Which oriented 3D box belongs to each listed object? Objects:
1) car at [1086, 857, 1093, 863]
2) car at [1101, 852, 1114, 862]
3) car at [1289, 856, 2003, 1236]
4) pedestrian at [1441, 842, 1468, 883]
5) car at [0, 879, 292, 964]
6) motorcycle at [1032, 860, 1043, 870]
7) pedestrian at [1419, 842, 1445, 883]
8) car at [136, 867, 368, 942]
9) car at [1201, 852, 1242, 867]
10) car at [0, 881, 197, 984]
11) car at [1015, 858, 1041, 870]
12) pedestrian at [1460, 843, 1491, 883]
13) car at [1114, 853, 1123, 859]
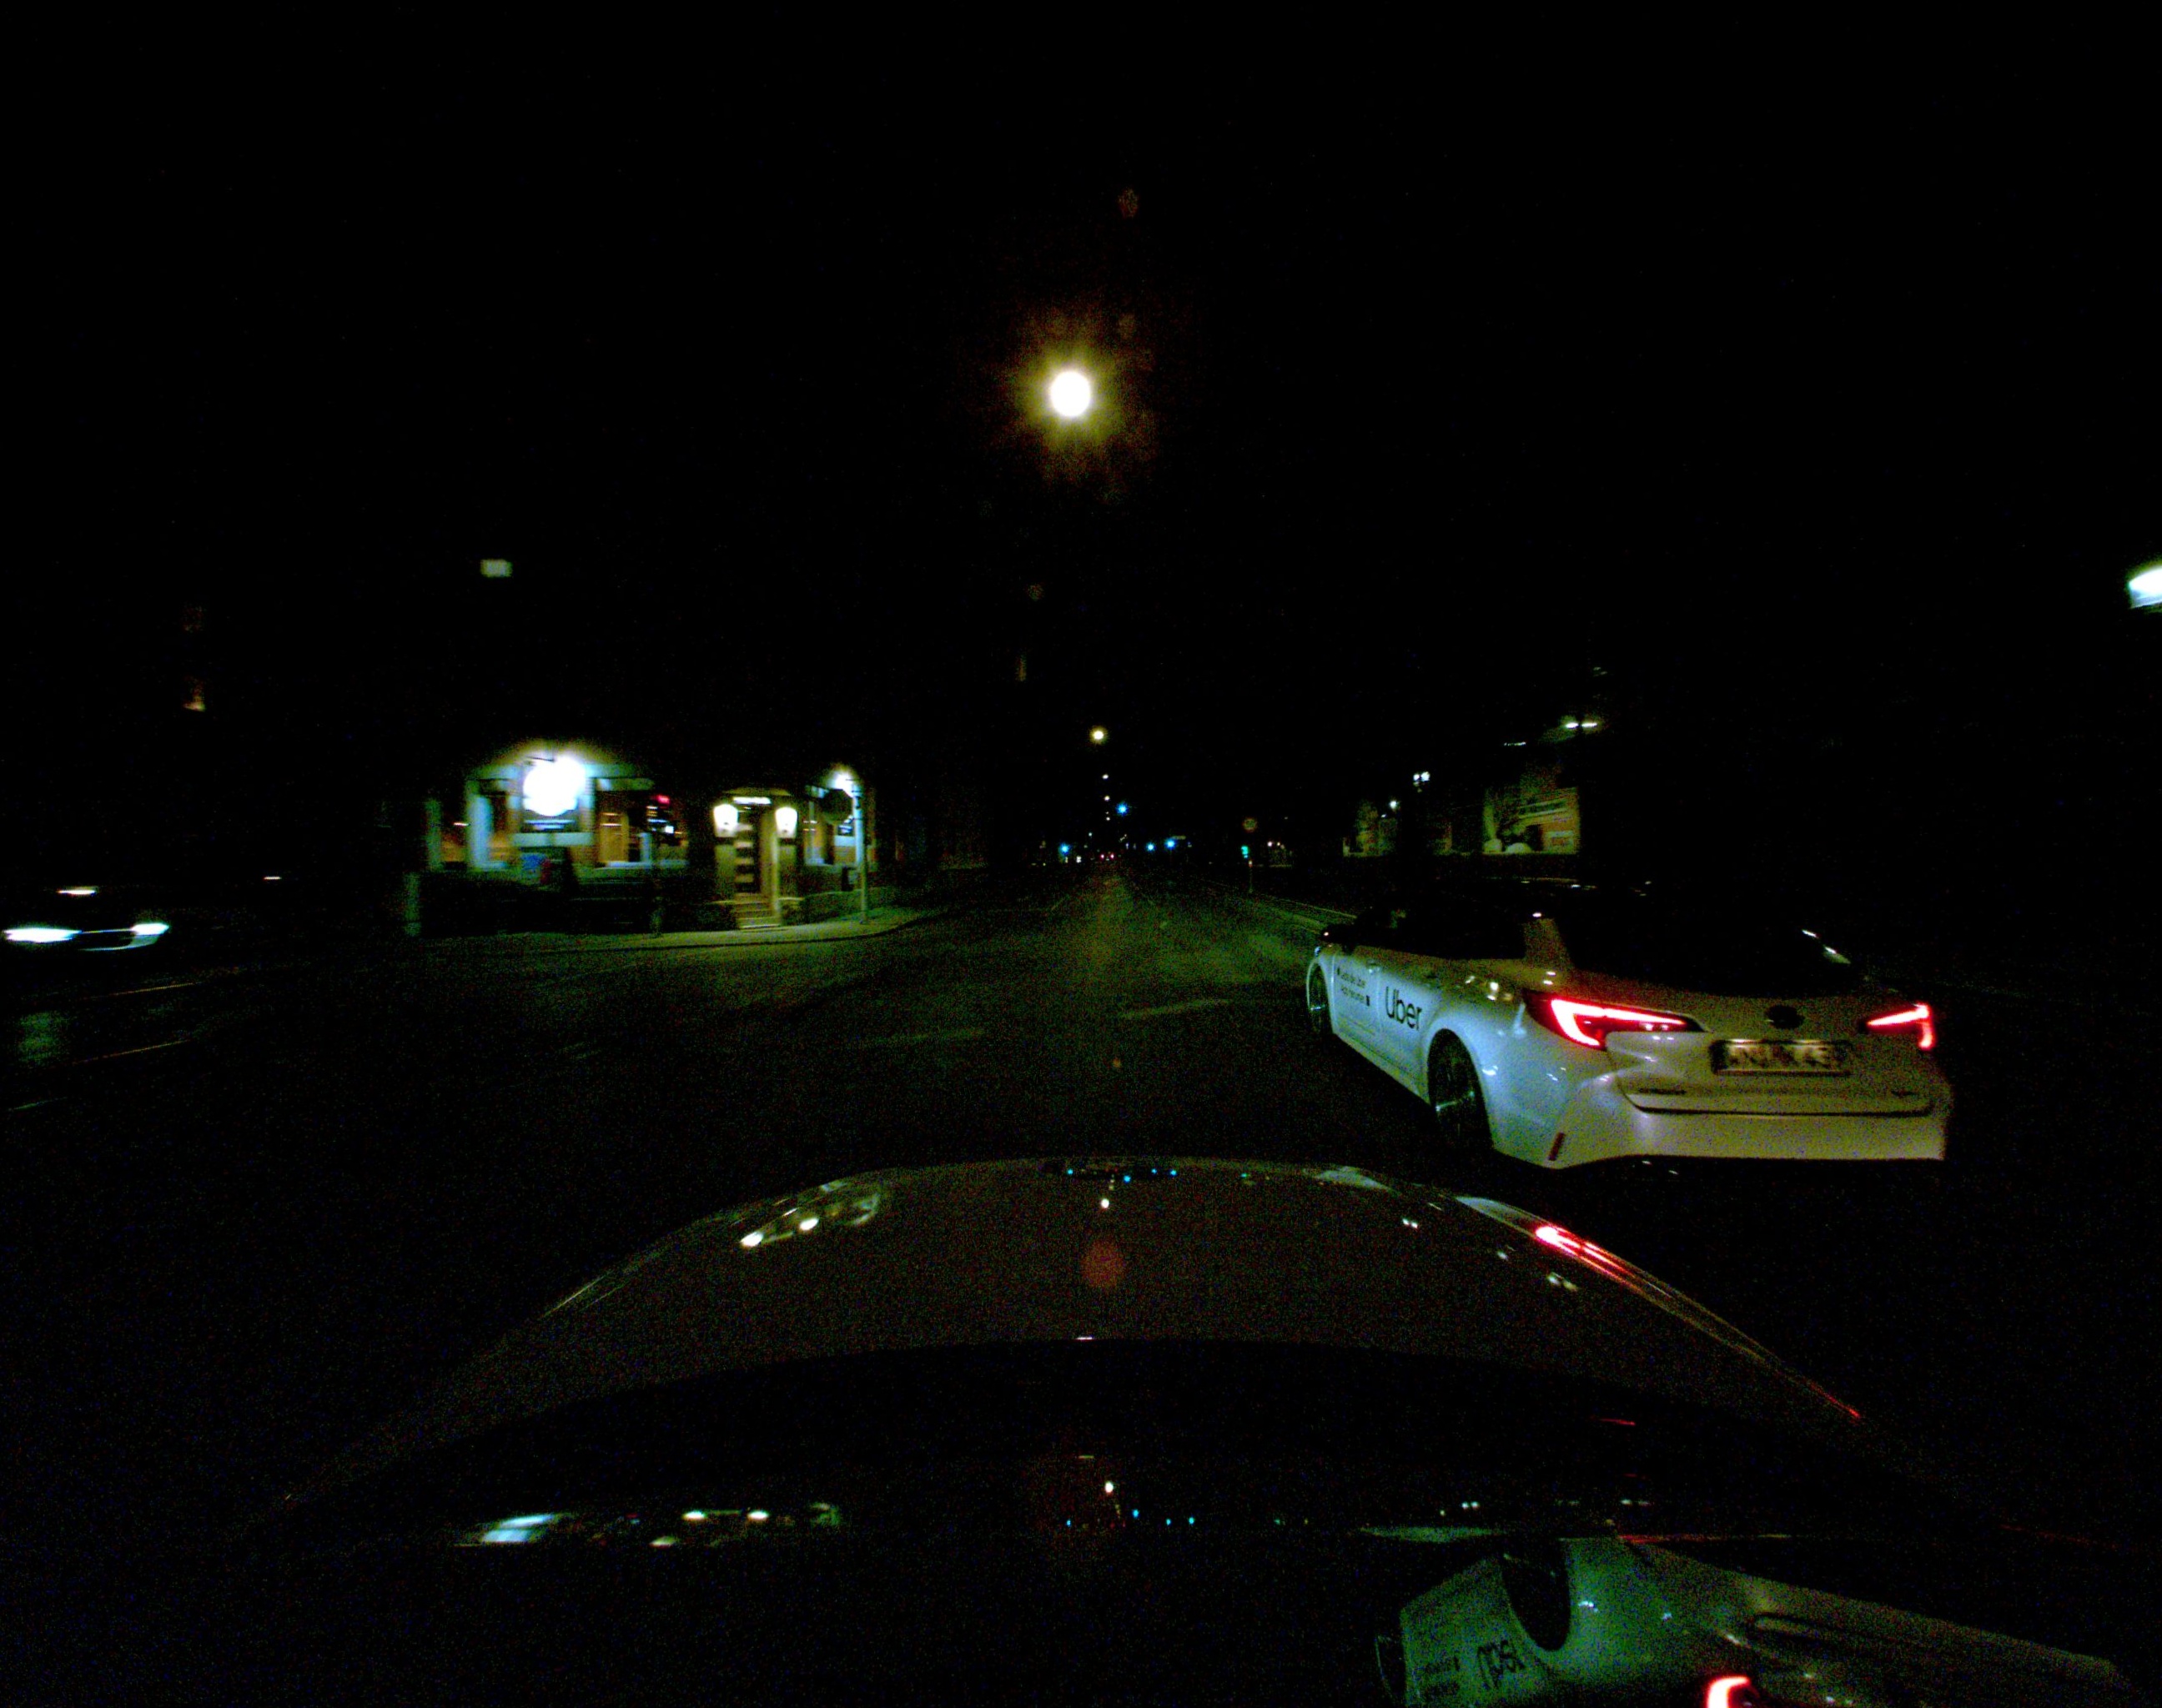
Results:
[{"bbox_3d":[2.061,1.358,195.440,1.772,1.390,3.999,-2,0,0],"label":"car"},{"bbox_3d":[4.351,0.496,134.063,1.987,1.640,3.999,-1,-1,0],"label":"car"},{"bbox_3d":[2.711,0.746,5.232,1.723,1.435,4.211,1,0,1],"label":"car"},{"bbox_3d":[16.540,0.392,36.108,0.736,1.769,0.907,-2,0,1],"label":"pedestrian"},{"bbox_3d":[-18.232,1.268,15.706,4.260,1.402,1.802,-2,0,1],"label":"car"},{"bbox_3d":[-5.416,1.380,101.859,0.783,1.204,2.435,-2,0,-17],"label":"motorcycle"},{"bbox_3d":[15.515,0.376,36.048,0.711,1.769,0.907,-2,0,1],"label":"pedestrian"},{"bbox_3d":[-19.598,1.162,19.393,3.599,1.594,1.700,-1,-2,-5],"label":"car"},{"bbox_3d":[14.230,0.584,82.645,3.969,1.386,1.773,-2,0,4],"label":"car"},{"bbox_3d":[-17.275,1.230,12.826,4.609,1.418,1.917,-2,0,1],"label":"car"},{"bbox_3d":[-6.872,1.313,104.833,1.815,1.486,3.961,-2,0,-30],"label":"car"},{"bbox_3d":[17.615,0.397,36.366,0.897,1.769,0.907,-2,0,1],"label":"pedestrian"},{"bbox_3d":[9.619,0.479,210.079,1.987,1.596,3.999,-2,0,-1],"label":"car"}]
